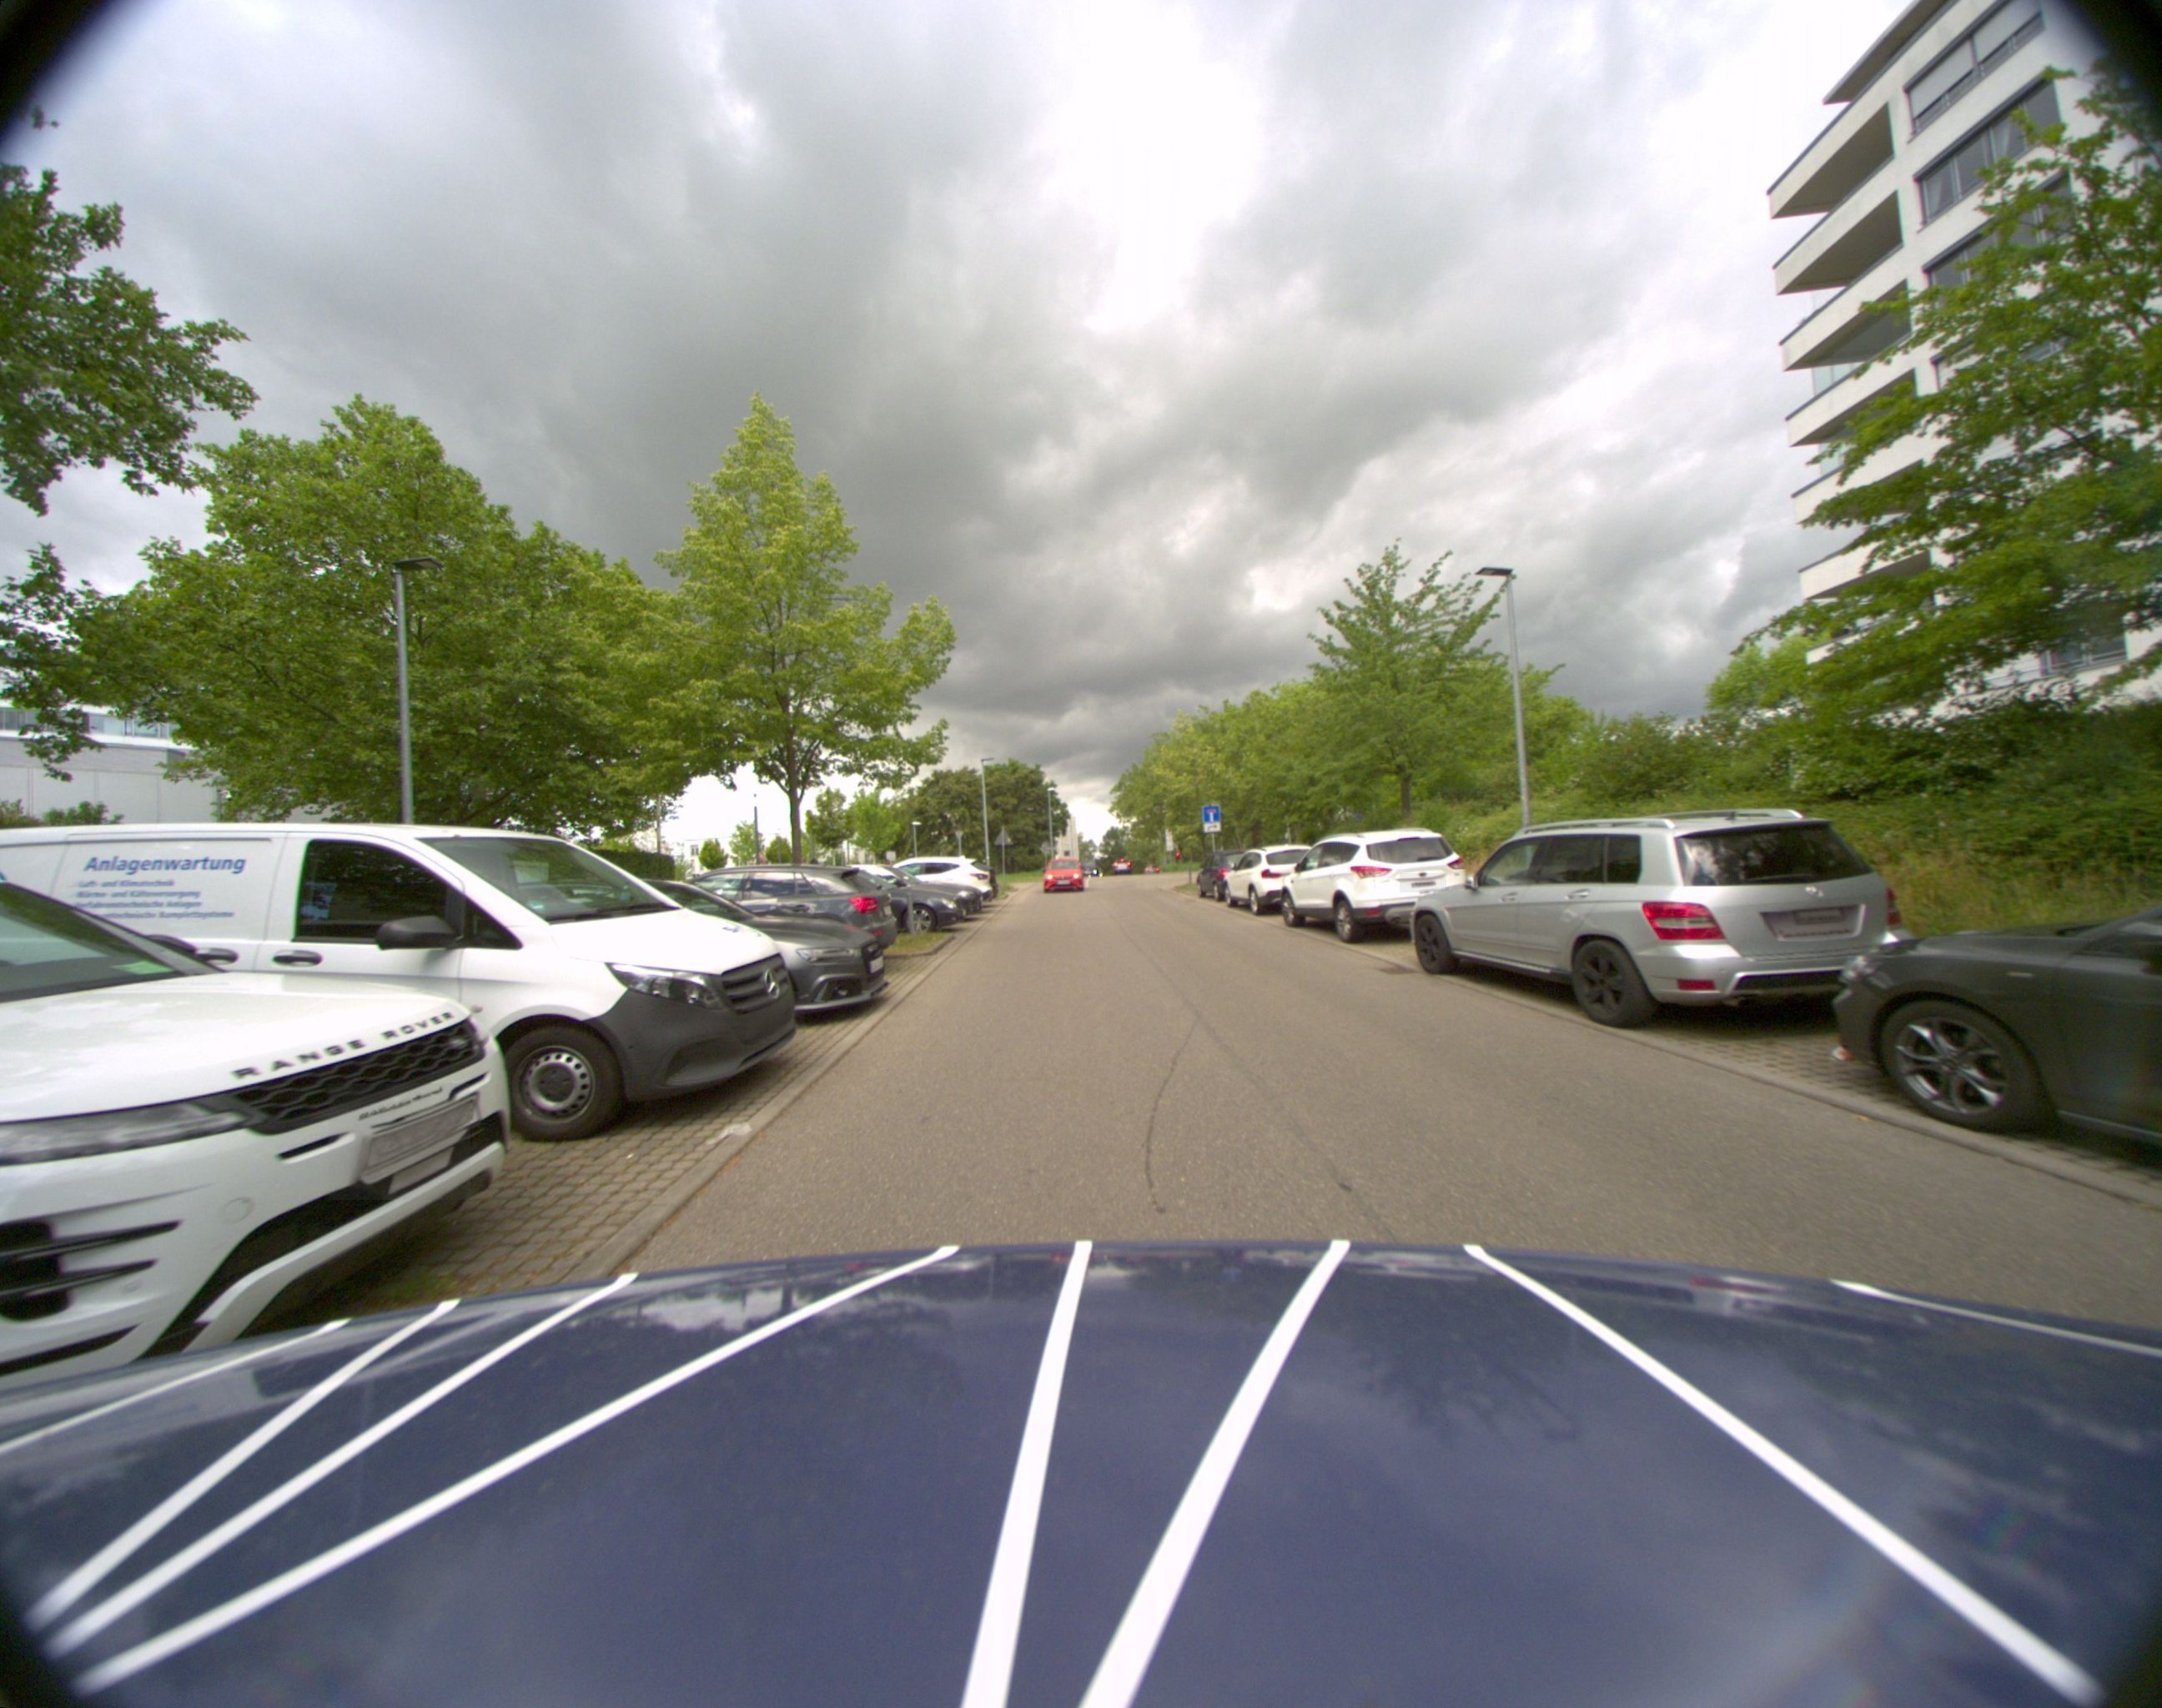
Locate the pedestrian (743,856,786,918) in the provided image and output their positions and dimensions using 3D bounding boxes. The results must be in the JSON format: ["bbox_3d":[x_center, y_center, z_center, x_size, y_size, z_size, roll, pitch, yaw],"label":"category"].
[{"bbox_3d":[-9.450,0.973,22.727,0.833,1.782,0.878,-3,0,0],"label":"pedestrian"}]

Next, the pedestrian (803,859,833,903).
[{"bbox_3d":[-9.855,1.009,28.499,0.690,1.611,0.929,-3,0,-41],"label":"pedestrian"}]

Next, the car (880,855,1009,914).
[{"bbox_3d":[-4.208,0.927,23.787,3.679,1.566,1.593,-2,2,1],"label":"car"}]

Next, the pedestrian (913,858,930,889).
[{"bbox_3d":[-9.049,1.127,43.179,0.763,1.712,0.885,-3,0,-18],"label":"pedestrian"}]

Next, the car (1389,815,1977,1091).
[{"bbox_3d":[4.805,0.615,7.139,1.804,1.606,4.477,-6,1,-1],"label":"car"}]

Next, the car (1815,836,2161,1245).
[{"bbox_3d":[4.975,0.699,1.962,1.694,1.456,4.456,-6,0,-1],"label":"car"}]

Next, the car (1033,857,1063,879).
[{"bbox_3d":[-2.432,1.030,57.274,1.758,1.506,4.001,-3,0,4],"label":"car"}]

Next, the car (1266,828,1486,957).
[{"bbox_3d":[4.722,0.566,12.983,1.812,1.655,4.436,-6,0,-1],"label":"car"}]

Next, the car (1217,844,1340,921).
[{"bbox_3d":[4.652,0.627,18.527,1.694,1.502,4.230,-6,0,-1],"label":"car"}]

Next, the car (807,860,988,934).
[{"bbox_3d":[-4.423,1.018,18.824,3.998,1.510,1.883,-3,1,-2],"label":"car"}]

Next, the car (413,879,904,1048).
[{"bbox_3d":[-3.908,0.987,7.575,3.834,1.363,1.843,-1,0,0],"label":"car"}]

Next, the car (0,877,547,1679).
[{"bbox_3d":[-4.332,0.995,2.237,4.162,1.593,1.739,-3,0,-2],"label":"car"}]

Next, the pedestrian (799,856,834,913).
[{"bbox_3d":[-8.517,0.973,24.514,0.741,1.782,0.878,-3,0,0],"label":"pedestrian"}]

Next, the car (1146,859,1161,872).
[{"bbox_3d":[9.128,1.414,96.155,1.758,1.506,4.001,-3,0,4],"label":"car"}]

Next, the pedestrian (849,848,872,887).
[{"bbox_3d":[-8.584,0.517,29.616,0.620,1.460,0.736,-3,0,0],"label":"pedestrian"}]

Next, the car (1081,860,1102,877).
[{"bbox_3d":[1.015,1.372,73.426,1.758,1.506,4.001,-3,0,4],"label":"car"}]

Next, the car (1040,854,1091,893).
[{"bbox_3d":[-0.617,0.829,33.365,1.758,1.506,4.002,-3,-1,4],"label":"car"}]

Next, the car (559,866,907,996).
[{"bbox_3d":[-4.498,0.955,10.339,3.835,1.511,1.911,-1,0,-2],"label":"car"}]

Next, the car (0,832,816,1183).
[{"bbox_3d":[-4.464,0.829,4.951,4.785,1.821,1.843,-1,0,1],"label":"car"}]

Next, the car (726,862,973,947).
[{"bbox_3d":[-4.697,1.003,16.015,4.588,1.483,1.951,-2,0,-4],"label":"car"}]

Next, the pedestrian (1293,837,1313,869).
[{"bbox_3d":[11.502,-0.036,39.318,0.634,1.601,0.719,-3,-2,-9],"label":"pedestrian"}]

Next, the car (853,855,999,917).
[{"bbox_3d":[-4.267,0.866,21.360,3.679,1.637,1.852,0,0,1],"label":"car"}]

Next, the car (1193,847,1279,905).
[{"bbox_3d":[4.674,0.628,23.444,1.694,1.478,3.953,-6,0,0],"label":"car"}]

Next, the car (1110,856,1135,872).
[{"bbox_3d":[4.252,1.031,77.928,1.902,1.573,4.166,2,-1,-5],"label":"car"}]

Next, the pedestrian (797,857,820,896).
[{"bbox_3d":[-12.359,1.022,34.490,0.655,1.701,0.706,-3,0,5],"label":"pedestrian"}]
